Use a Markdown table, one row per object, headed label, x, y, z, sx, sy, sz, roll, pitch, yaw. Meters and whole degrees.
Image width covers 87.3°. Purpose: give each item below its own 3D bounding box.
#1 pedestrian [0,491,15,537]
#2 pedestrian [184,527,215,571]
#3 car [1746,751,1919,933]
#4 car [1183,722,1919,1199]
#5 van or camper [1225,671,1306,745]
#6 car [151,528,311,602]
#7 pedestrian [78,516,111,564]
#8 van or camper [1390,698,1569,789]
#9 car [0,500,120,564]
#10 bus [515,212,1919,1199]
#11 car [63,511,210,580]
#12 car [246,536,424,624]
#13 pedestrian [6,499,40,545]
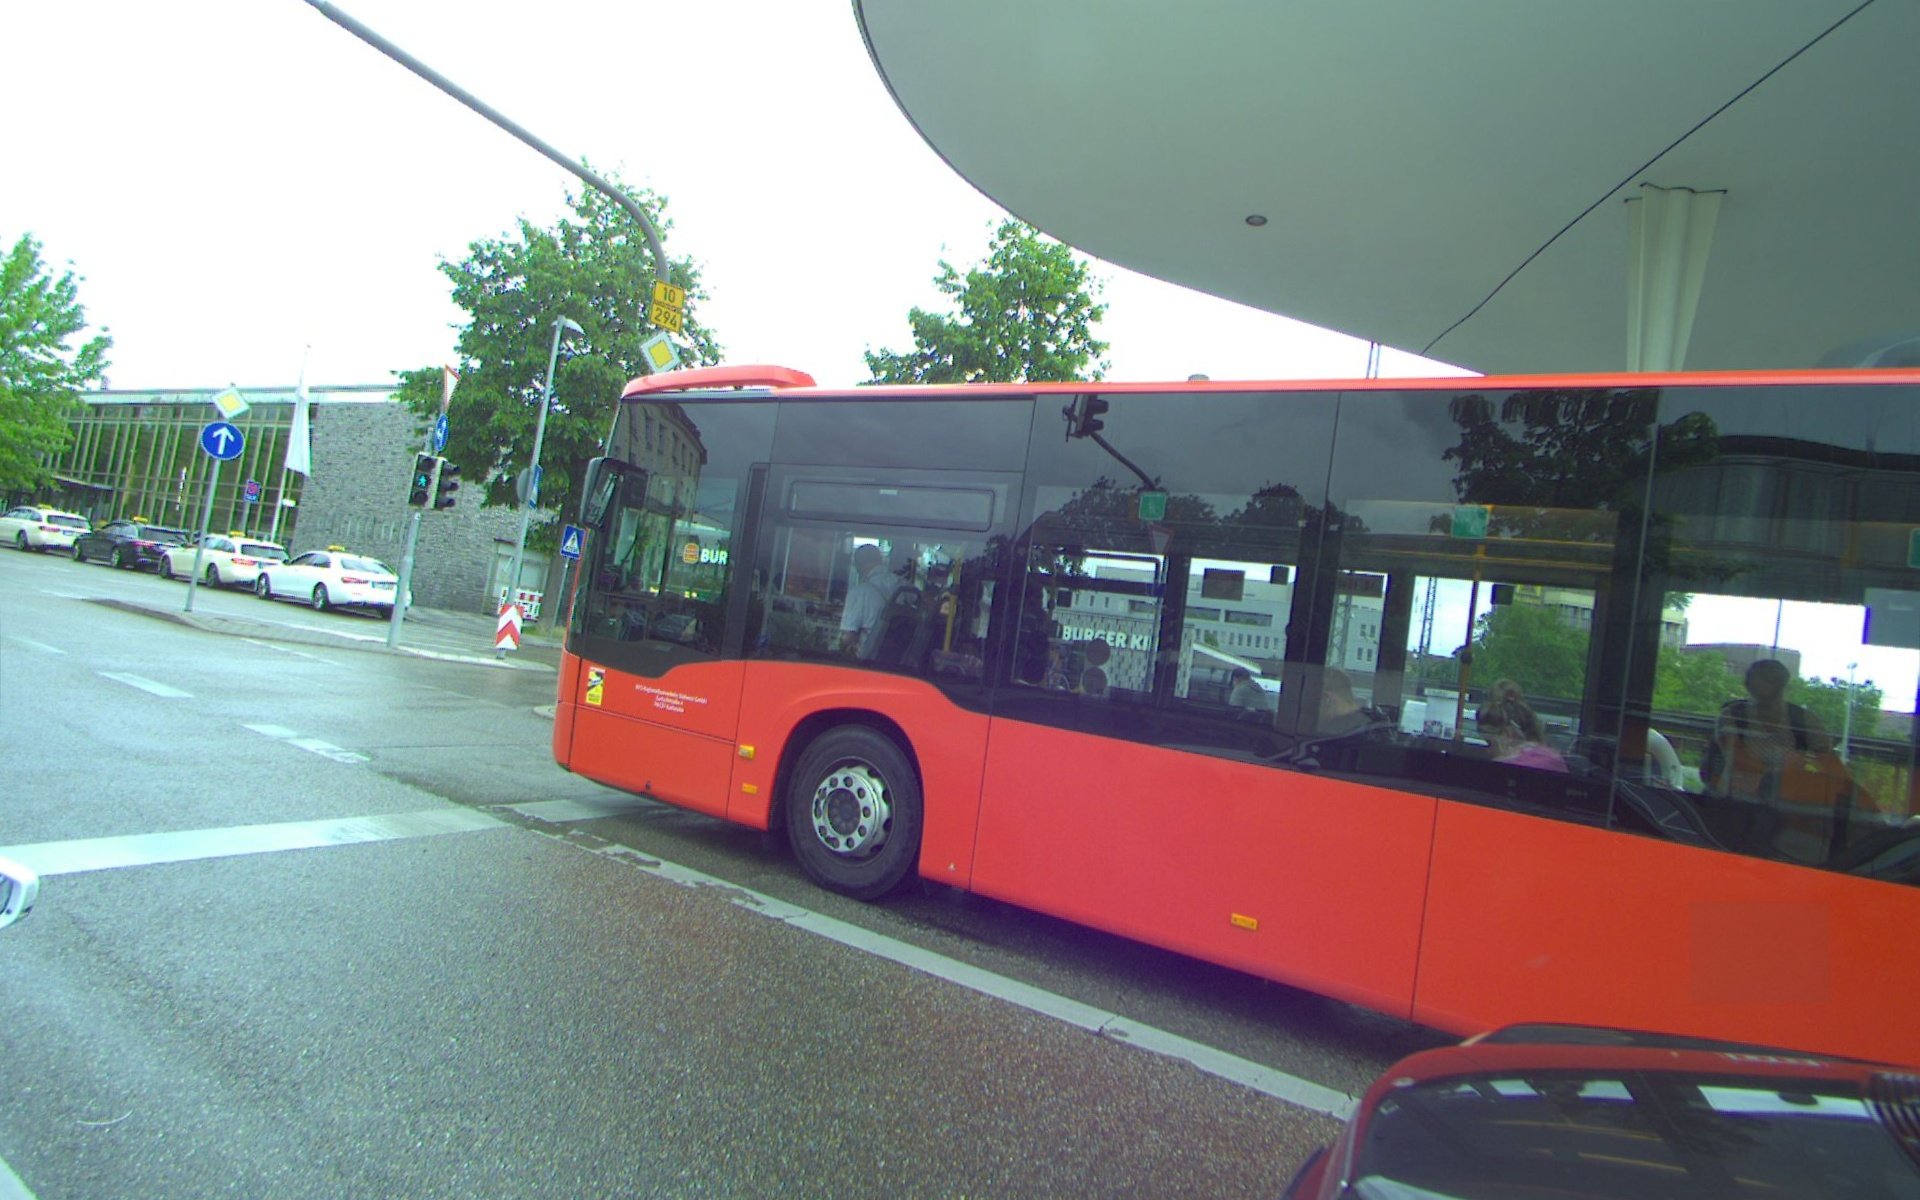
| label | x | y | z | sx | sy | sz | roll | pitch | yaw |
| --- | --- | --- | --- | --- | --- | --- | --- | --- | --- |
| pedestrian | -52.580 | -4.757 | 55.027 | 0.848 | 2.439 | 0.844 | 7 | -1 | 34 |
| pedestrian | -30.962 | -2.082 | 40.959 | 0.703 | 1.665 | 0.565 | 7 | -1 | 27 |
| car | 11.231 | 2.807 | 10.551 | 4.360 | 1.666 | 1.806 | 7 | -4 | 32 |
| car | 2.575 | 1.224 | 0.961 | 4.362 | 1.495 | 1.751 | 6 | -4 | 32 |
| van or camper | 12.544 | 4.412 | 41.000 | 2.072 | 2.491 | 5.975 | 7 | -3 | 25 |
| car | -20.574 | -1.008 | 28.344 | 4.588 | 1.468 | 1.851 | 7 | -2 | 30 |
| pedestrian | -32.893 | -2.281 | 38.230 | 0.703 | 1.729 | 0.565 | 7 | -1 | 27 |
| van or camper | 20.342 | 5.552 | 39.530 | 5.873 | 2.491 | 2.108 | 7 | -2 | 32 |
| car | -31.427 | -2.392 | 34.530 | 4.736 | 1.618 | 2.000 | 7 | -2 | 25 |
| bus | 2.163 | 0.324 | 5.281 | 10.026 | 3.210 | 2.749 | 7 | -2 | 32 |
| car | -25.833 | -1.713 | 31.518 | 4.661 | 1.542 | 1.918 | 7 | -2 | 30 |
| car | -15.850 | -0.515 | 25.448 | 4.538 | 1.608 | 1.779 | 7 | -2 | 30 |
| pedestrian | -45.040 | -3.756 | 48.351 | 0.814 | 2.037 | 0.771 | 7 | -1 | 30 |
